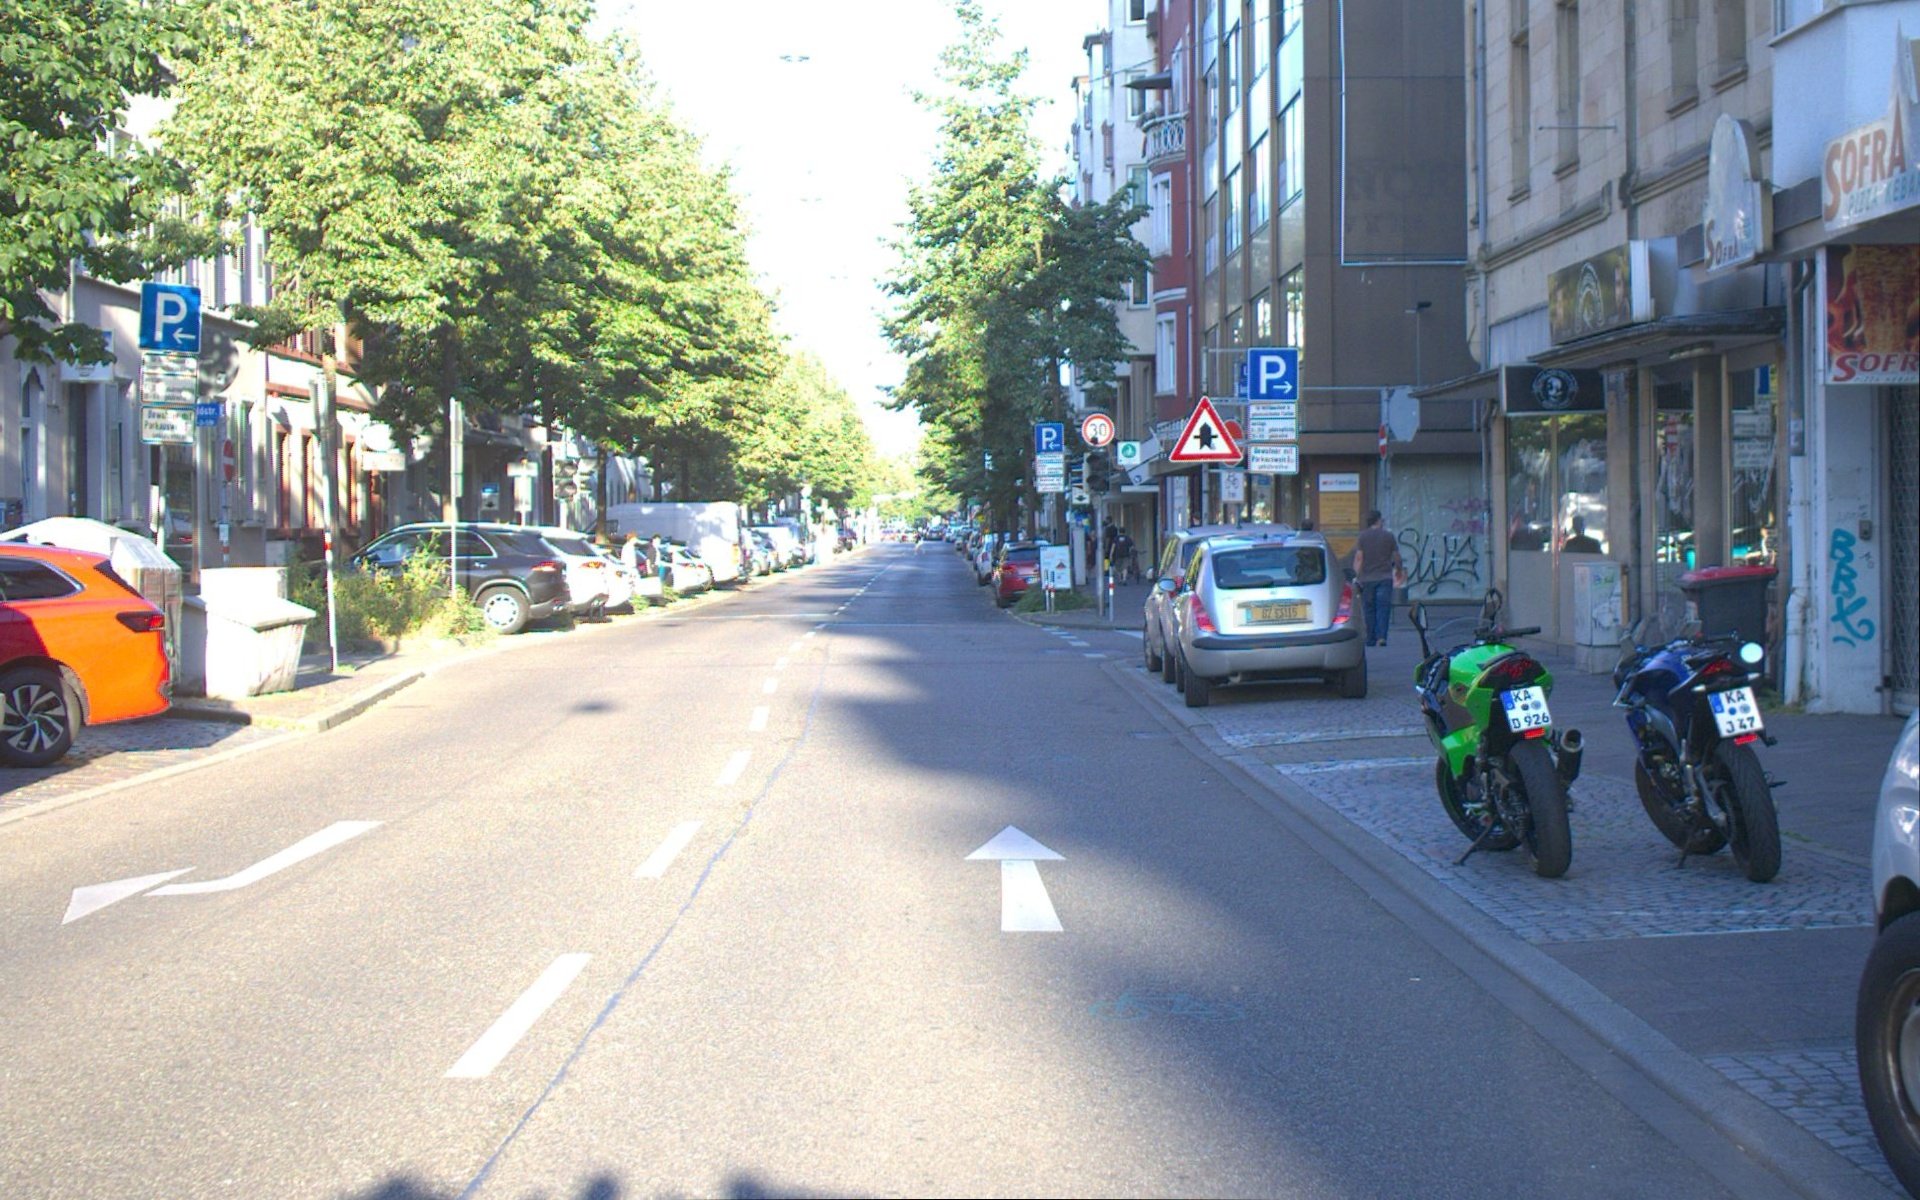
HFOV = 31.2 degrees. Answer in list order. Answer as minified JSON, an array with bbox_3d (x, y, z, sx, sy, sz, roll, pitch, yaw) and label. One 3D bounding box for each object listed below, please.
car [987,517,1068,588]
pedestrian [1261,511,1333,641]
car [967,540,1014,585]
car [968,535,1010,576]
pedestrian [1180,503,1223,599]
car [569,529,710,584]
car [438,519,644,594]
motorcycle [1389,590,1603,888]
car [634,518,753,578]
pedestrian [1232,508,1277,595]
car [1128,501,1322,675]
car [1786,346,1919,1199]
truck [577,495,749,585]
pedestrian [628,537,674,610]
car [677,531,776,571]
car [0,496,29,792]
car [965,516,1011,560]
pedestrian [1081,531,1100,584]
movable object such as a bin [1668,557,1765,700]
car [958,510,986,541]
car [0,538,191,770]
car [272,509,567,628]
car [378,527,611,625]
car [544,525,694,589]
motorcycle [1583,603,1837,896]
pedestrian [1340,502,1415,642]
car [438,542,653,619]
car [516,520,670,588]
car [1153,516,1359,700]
[{"bbox_3d":[1.533,-1.098,79.267,1.576,1.537,3.397,-2,1,-3],"label":"car"},{"bbox_3d":[4.353,-0.323,44.449,0.755,1.634,1.259,1,2,-1],"label":"pedestrian"},{"bbox_3d":[0.881,-1.103,101.028,1.206,1.296,2.661,0,1,-3],"label":"car"},{"bbox_3d":[0.925,-1.428,111.250,1.206,1.296,2.661,0,1,-3],"label":"car"},{"bbox_3d":[4.768,-0.972,67.889,0.714,1.859,0.680,-2,2,-3],"label":"pedestrian"},{"bbox_3d":[-8.894,-1.212,95.580,3.739,1.445,2.000,1,1,-1],"label":"car"},{"bbox_3d":[-9.479,-0.985,77.997,4.426,1.594,2.000,1,1,-1],"label":"car"},{"bbox_3d":[2.407,0.588,15.668,0.588,1.196,2.210,-1,2,-1],"label":"motorcycle"},{"bbox_3d":[-8.711,-1.705,112.612,3.739,1.852,2.000,1,1,-1],"label":"car"},{"bbox_3d":[5.810,-0.957,67.876,0.765,1.683,0.786,-1,2,-3],"label":"pedestrian"},{"bbox_3d":[2.807,-0.182,37.166,1.696,1.763,4.001,-1,2,-1],"label":"car"},{"bbox_3d":[2.838,0.426,6.109,1.710,1.828,4.306,1,2,1],"label":"car"},{"bbox_3d":[-8.779,-1.788,101.897,4.940,2.606,2.000,0,1,-1],"label":"truck"},{"bbox_3d":[-7.180,-0.615,79.916,0.721,1.677,0.757,0,2,-40],"label":"pedestrian"},{"bbox_3d":[-9.147,-1.909,134.771,3.739,1.487,2.000,1,1,-1],"label":"car"},{"bbox_3d":[-7.481,0.223,19.259,3.987,1.690,1.750,0,1,-36],"label":"car"},{"bbox_3d":[0.840,-1.874,103.957,1.206,1.296,2.661,0,1,-3],"label":"car"},{"bbox_3d":[4.014,-1.299,105.634,0.534,1.616,0.534,1,1,0],"label":"pedestrian"},{"bbox_3d":[5.862,0.216,26.666,0.596,1.081,0.664,1,2,1],"label":"movable object such as a bin"},{"bbox_3d":[0.645,-3.943,181.998,1.308,1.594,2.661,0,1,-3],"label":"car"},{"bbox_3d":[-7.324,0.348,22.660,3.987,1.480,2.000,-1,2,-29],"label":"car"},{"bbox_3d":[-8.674,-0.518,55.442,4.448,1.829,2.034,1,1,-1],"label":"car"},{"bbox_3d":[-8.433,-0.446,62.538,3.989,1.702,1.833,1,2,-1],"label":"car"},{"bbox_3d":[-8.965,-1.130,90.527,3.739,1.590,2.000,1,1,-1],"label":"car"},{"bbox_3d":[3.229,0.605,14.990,0.588,1.119,2.210,0,2,-1],"label":"motorcycle"},{"bbox_3d":[5.345,-0.368,44.071,0.755,1.761,1.222,1,2,-1],"label":"pedestrian"},{"bbox_3d":[-8.479,-0.412,70.524,4.175,1.502,2.000,1,1,-1],"label":"car"},{"bbox_3d":[-9.347,-1.179,87.779,3.739,1.636,2.000,1,1,-1],"label":"car"},{"bbox_3d":[2.736,0.022,32.456,1.680,1.555,4.000,-2,2,2],"label":"car"}]
